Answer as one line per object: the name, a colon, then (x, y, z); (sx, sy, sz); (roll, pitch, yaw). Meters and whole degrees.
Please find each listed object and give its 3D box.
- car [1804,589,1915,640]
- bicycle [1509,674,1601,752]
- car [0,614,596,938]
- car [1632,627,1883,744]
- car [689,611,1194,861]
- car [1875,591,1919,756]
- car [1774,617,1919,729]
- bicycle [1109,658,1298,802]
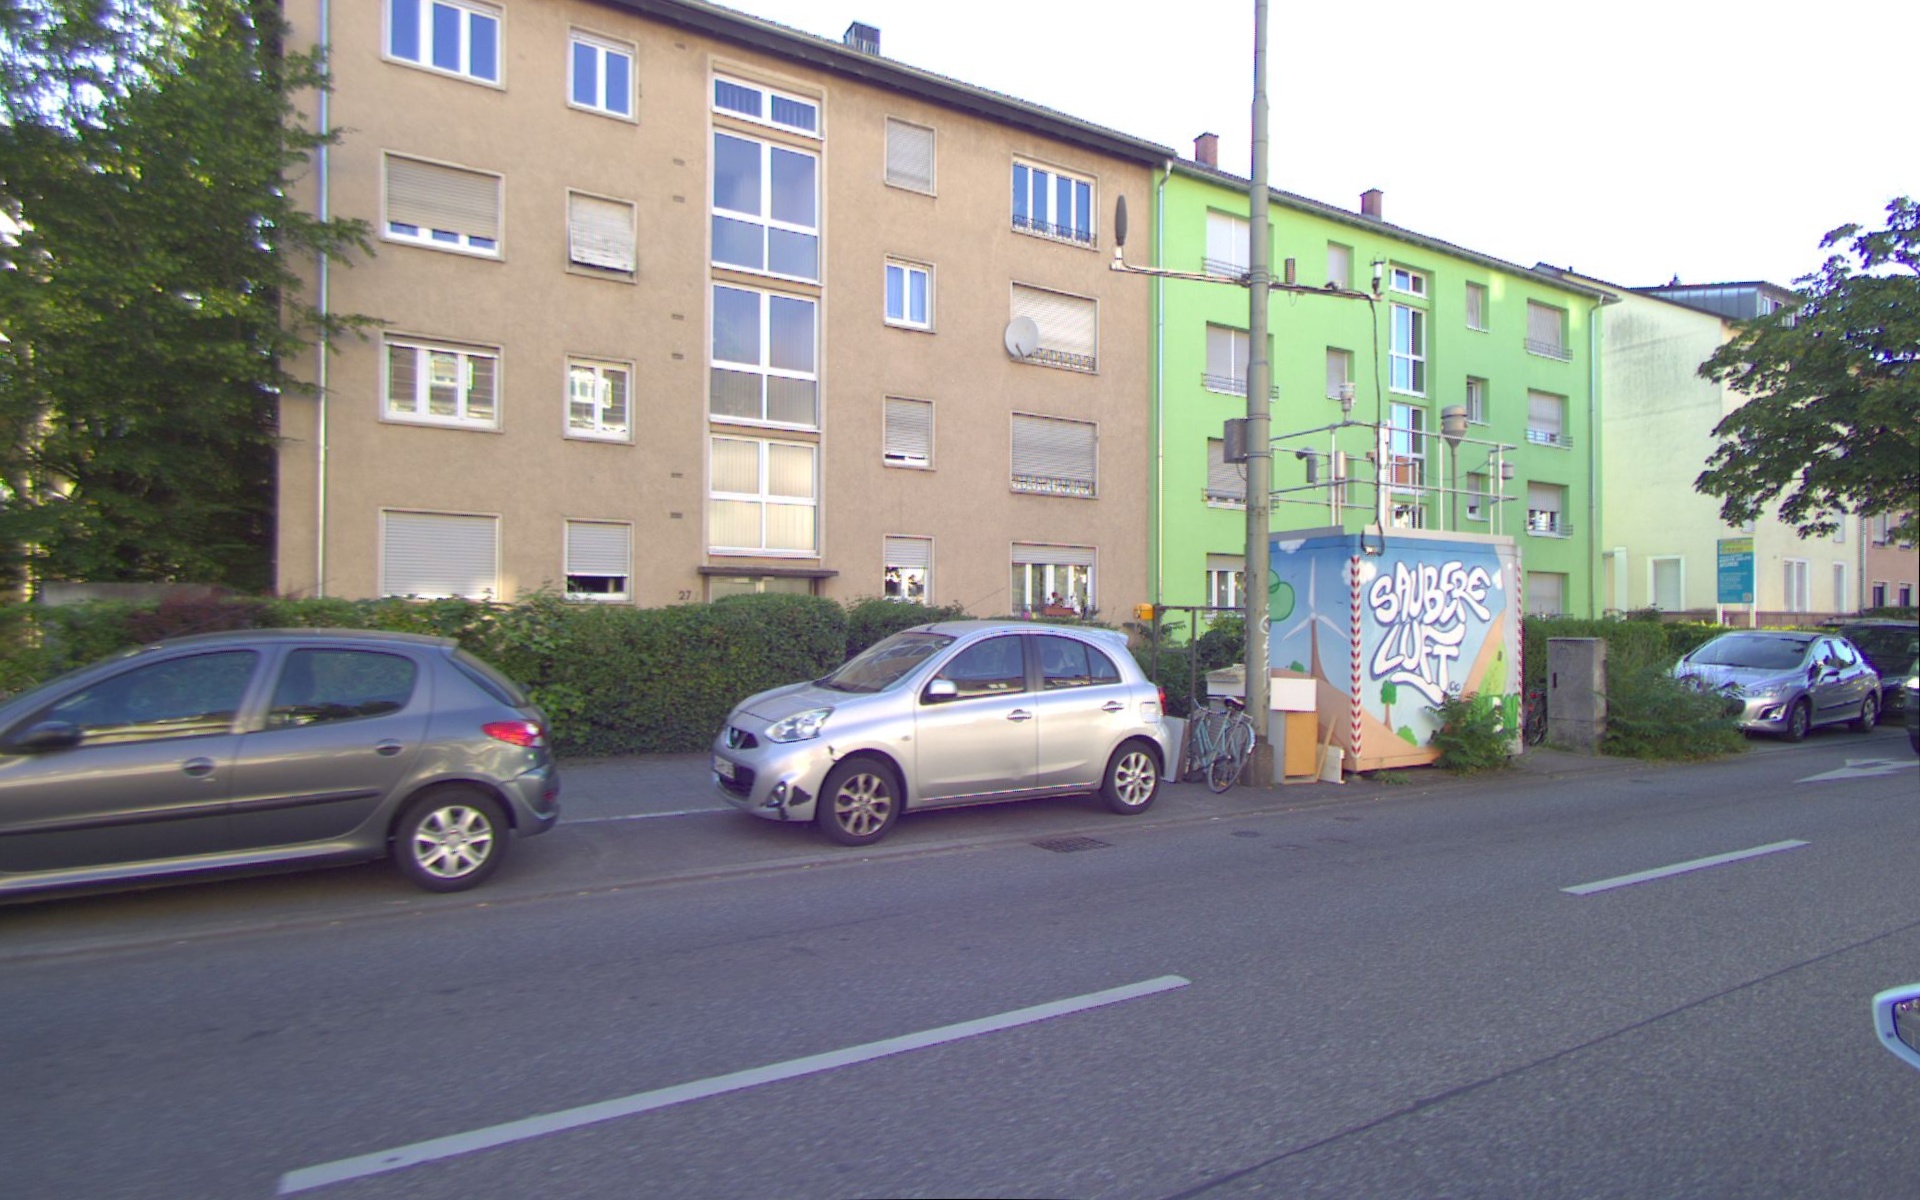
car: (31.761, 0.526, 35.437); (3.953, 1.705, 1.818); (2, -1, -30)
bicycle: (7.555, 1.410, 12.727); (1.528, 0.873, 0.368); (1, 0, -34)
car: (-4.239, 0.836, 5.701); (3.894, 1.499, 1.647); (1, -1, -29)
car: (12.089, 1.194, 15.170); (4.143, 1.541, 1.674); (1, -1, -31)
car: (-0.074, 0.900, 8.014); (3.743, 1.572, 1.628); (1, -1, -31)
car: (13.850, 0.896, 12.714); (4.721, 1.971, 1.985); (1, -3, -30)
car: (16.494, 1.205, 17.721); (4.561, 1.755, 1.776); (1, -1, -29)
bicycle: (2.279, 1.180, 9.687); (0.576, 1.104, 1.997); (1, 1, -28)
